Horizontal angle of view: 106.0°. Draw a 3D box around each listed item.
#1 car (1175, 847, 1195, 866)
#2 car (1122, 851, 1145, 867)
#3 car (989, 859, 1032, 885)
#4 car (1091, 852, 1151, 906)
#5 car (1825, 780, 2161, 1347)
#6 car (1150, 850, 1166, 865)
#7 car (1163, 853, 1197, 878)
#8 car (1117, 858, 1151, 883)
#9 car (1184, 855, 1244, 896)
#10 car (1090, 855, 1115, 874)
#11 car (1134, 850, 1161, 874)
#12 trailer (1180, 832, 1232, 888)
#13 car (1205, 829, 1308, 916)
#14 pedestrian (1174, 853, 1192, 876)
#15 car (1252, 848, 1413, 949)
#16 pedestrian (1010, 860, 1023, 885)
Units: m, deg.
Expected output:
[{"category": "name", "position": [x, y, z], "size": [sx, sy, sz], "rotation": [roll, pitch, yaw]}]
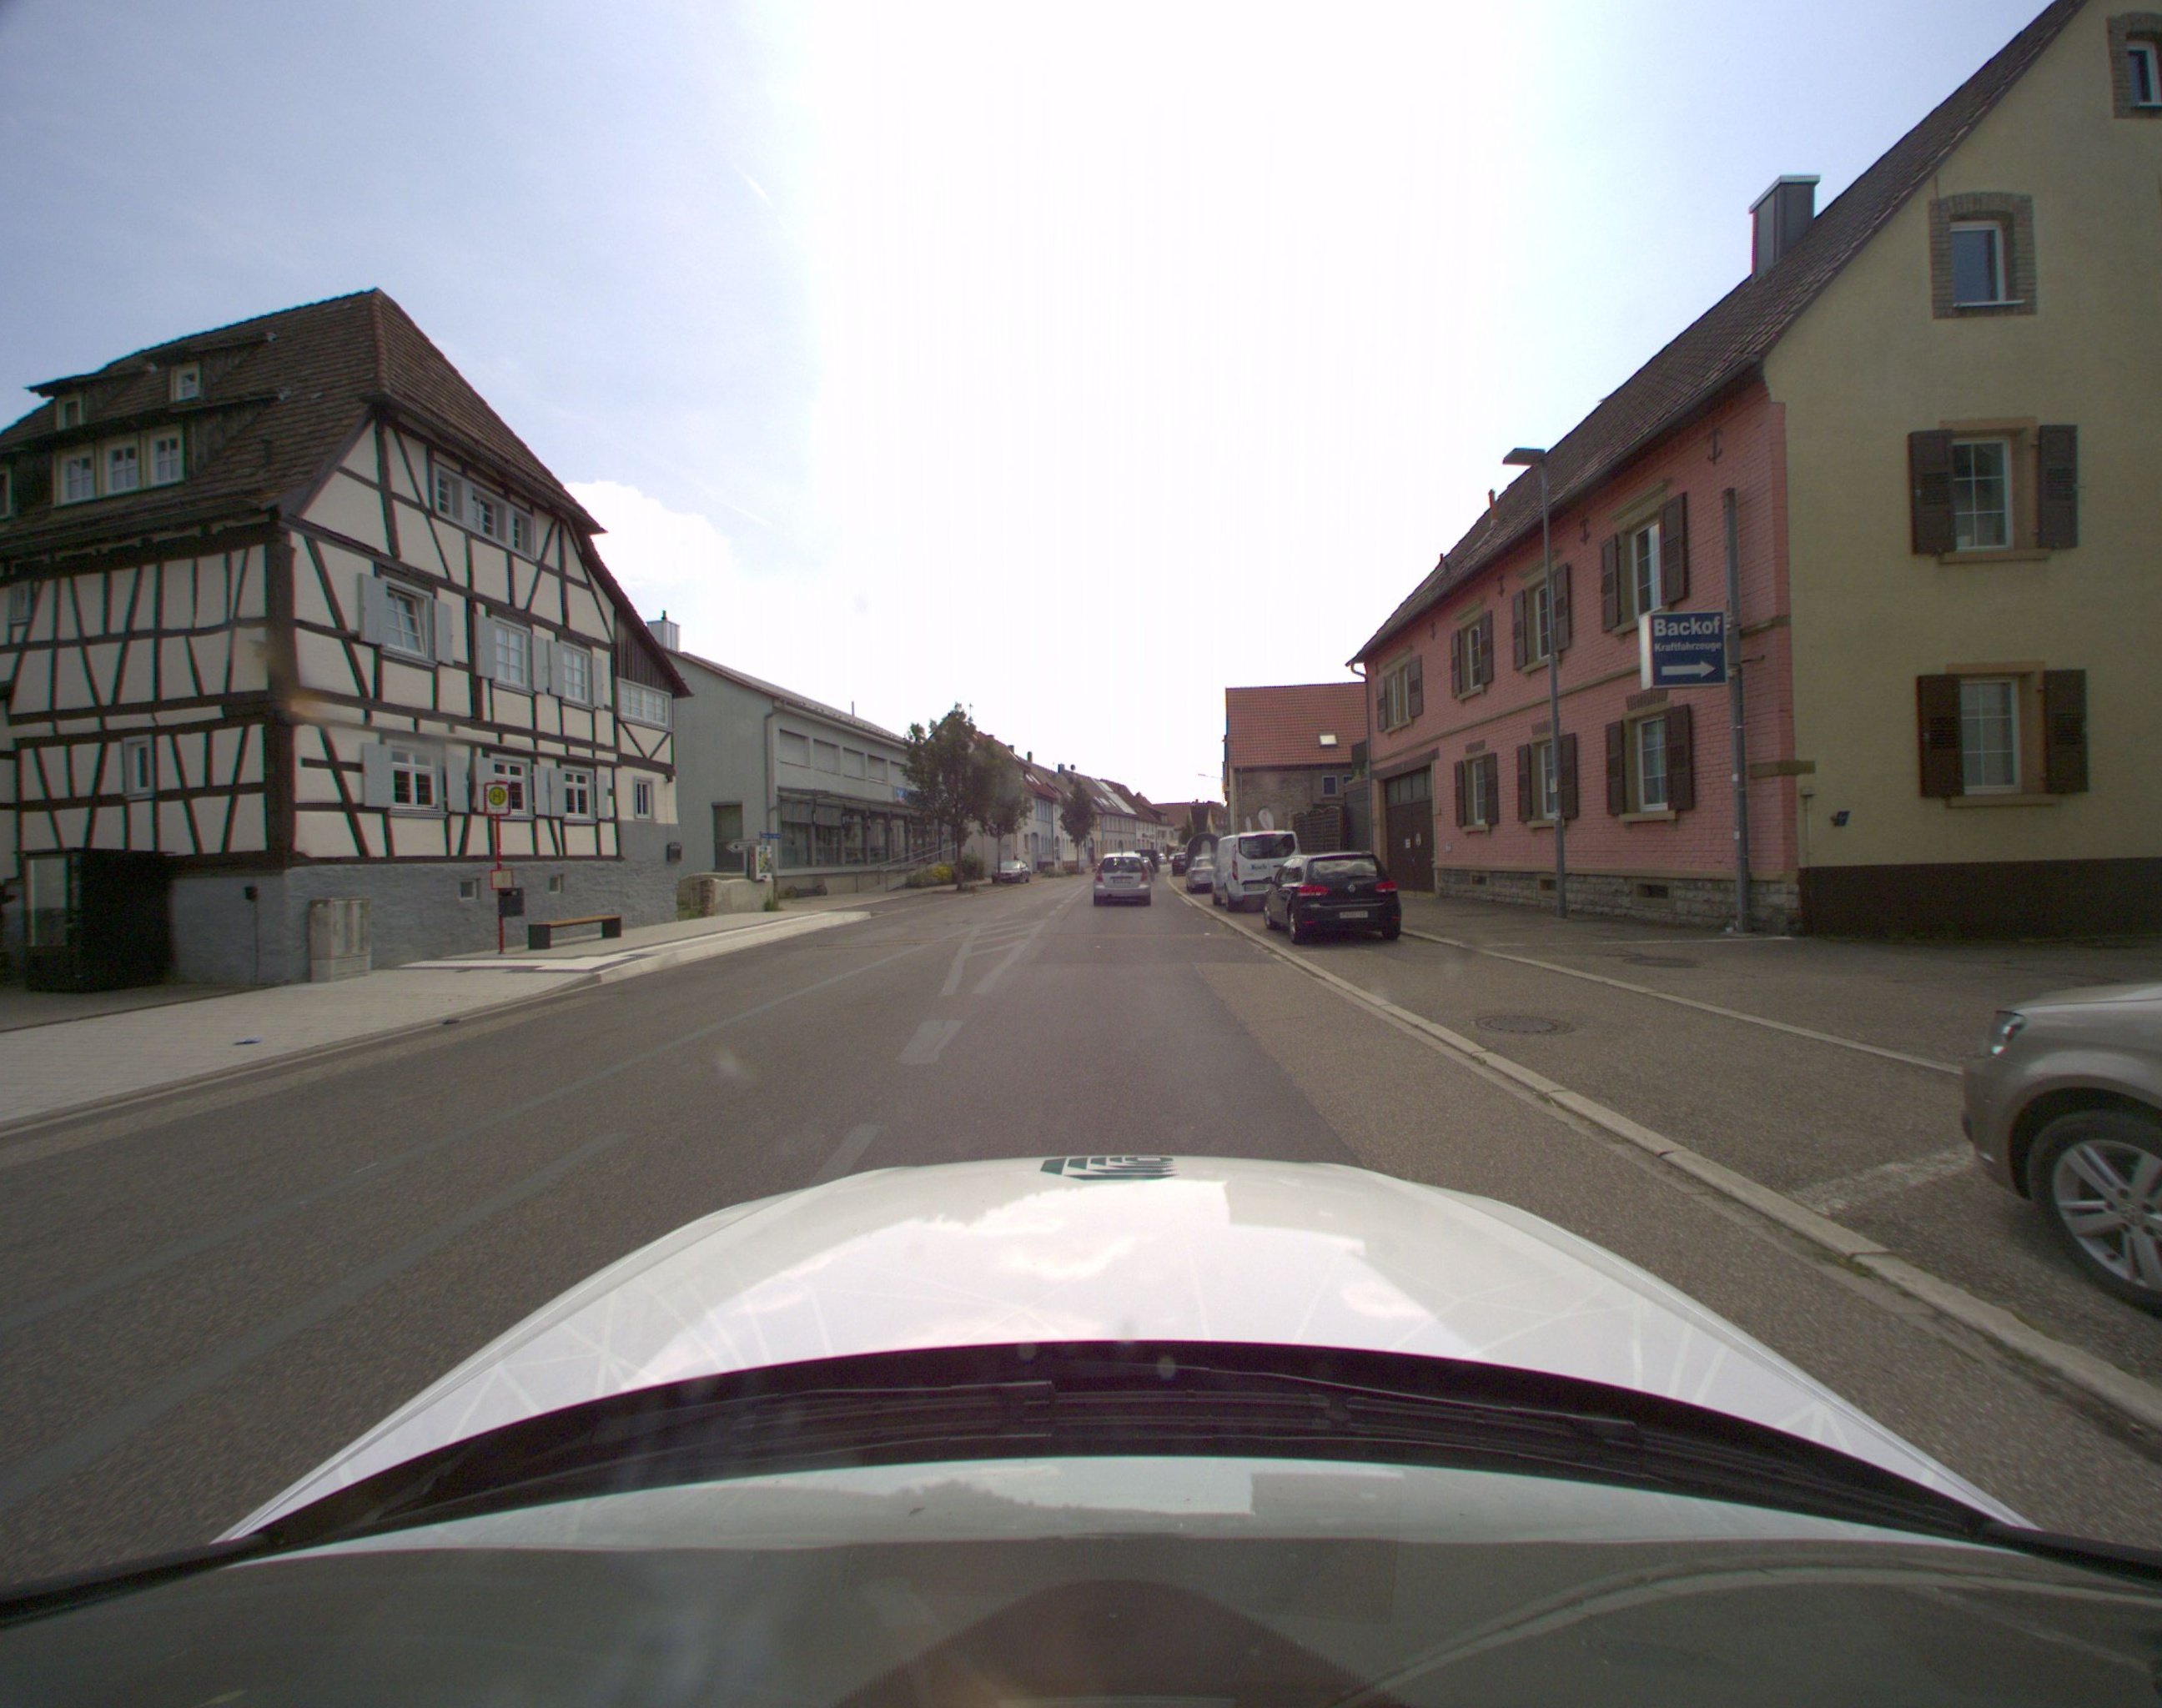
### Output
[{"category": "car", "position": [13.308, 0.365, 104.278], "size": [2.222, 2.222, 4.011], "rotation": [-3, -1, 10]}, {"category": "car", "position": [6.573, 0.620, 100.952], "size": [2.077, 1.884, 4.015], "rotation": [-2, 0, 13]}, {"category": "car", "position": [-4.299, 1.104, 50.526], "size": [1.795, 1.460, 4.166], "rotation": [-2, 0, 7]}, {"category": "car", "position": [1.241, 0.769, 26.039], "size": [1.762, 1.595, 4.001], "rotation": [0, -1, 2]}, {"category": "car", "position": [4.106, 0.576, 1.295], "size": [1.985, 1.680, 4.326], "rotation": [-3, 0, 3]}, {"category": "car", "position": [11.243, 0.535, 118.742], "size": [1.981, 2.014, 4.010], "rotation": [-3, -1, 9]}, {"category": "car", "position": [6.876, 0.760, 56.231], "size": [1.981, 1.559, 4.012], "rotation": [-4, 0, 10]}, {"category": "car", "position": [3.173, 0.934, 48.144], "size": [1.935, 1.407, 4.006], "rotation": [0, -1, 5]}, {"category": "car", "position": [5.189, 0.797, 32.341], "size": [1.867, 1.481, 4.678], "rotation": [-2, 0, 3]}, {"category": "car", "position": [1.972, 0.925, 72.697], "size": [1.734, 1.526, 4.027], "rotation": [-4, 0, 7]}, {"category": "car", "position": [5.448, 0.689, 66.413], "size": [1.758, 1.888, 4.459], "rotation": [0, -1, 10]}, {"category": "trailer", "position": [5.633, 0.259, 37.130], "size": [1.837, 2.354, 3.592], "rotation": [-3, 0, 2]}, {"category": "car", "position": [4.661, 0.450, 22.377], "size": [1.884, 1.982, 4.935], "rotation": [-5, 0, 3]}, {"category": "pedestrian", "position": [8.129, 0.826, 65.010], "size": [1.087, 1.821, 1.476], "rotation": [-3, -1, 16]}, {"category": "car", "position": [4.346, 0.703, 14.744], "size": [1.767, 1.495, 4.165], "rotation": [-3, 0, 3]}, {"category": "pedestrian", "position": [-4.633, 1.344, 58.747], "size": [0.735, 1.801, 0.643], "rotation": [-3, -1, 4]}]
